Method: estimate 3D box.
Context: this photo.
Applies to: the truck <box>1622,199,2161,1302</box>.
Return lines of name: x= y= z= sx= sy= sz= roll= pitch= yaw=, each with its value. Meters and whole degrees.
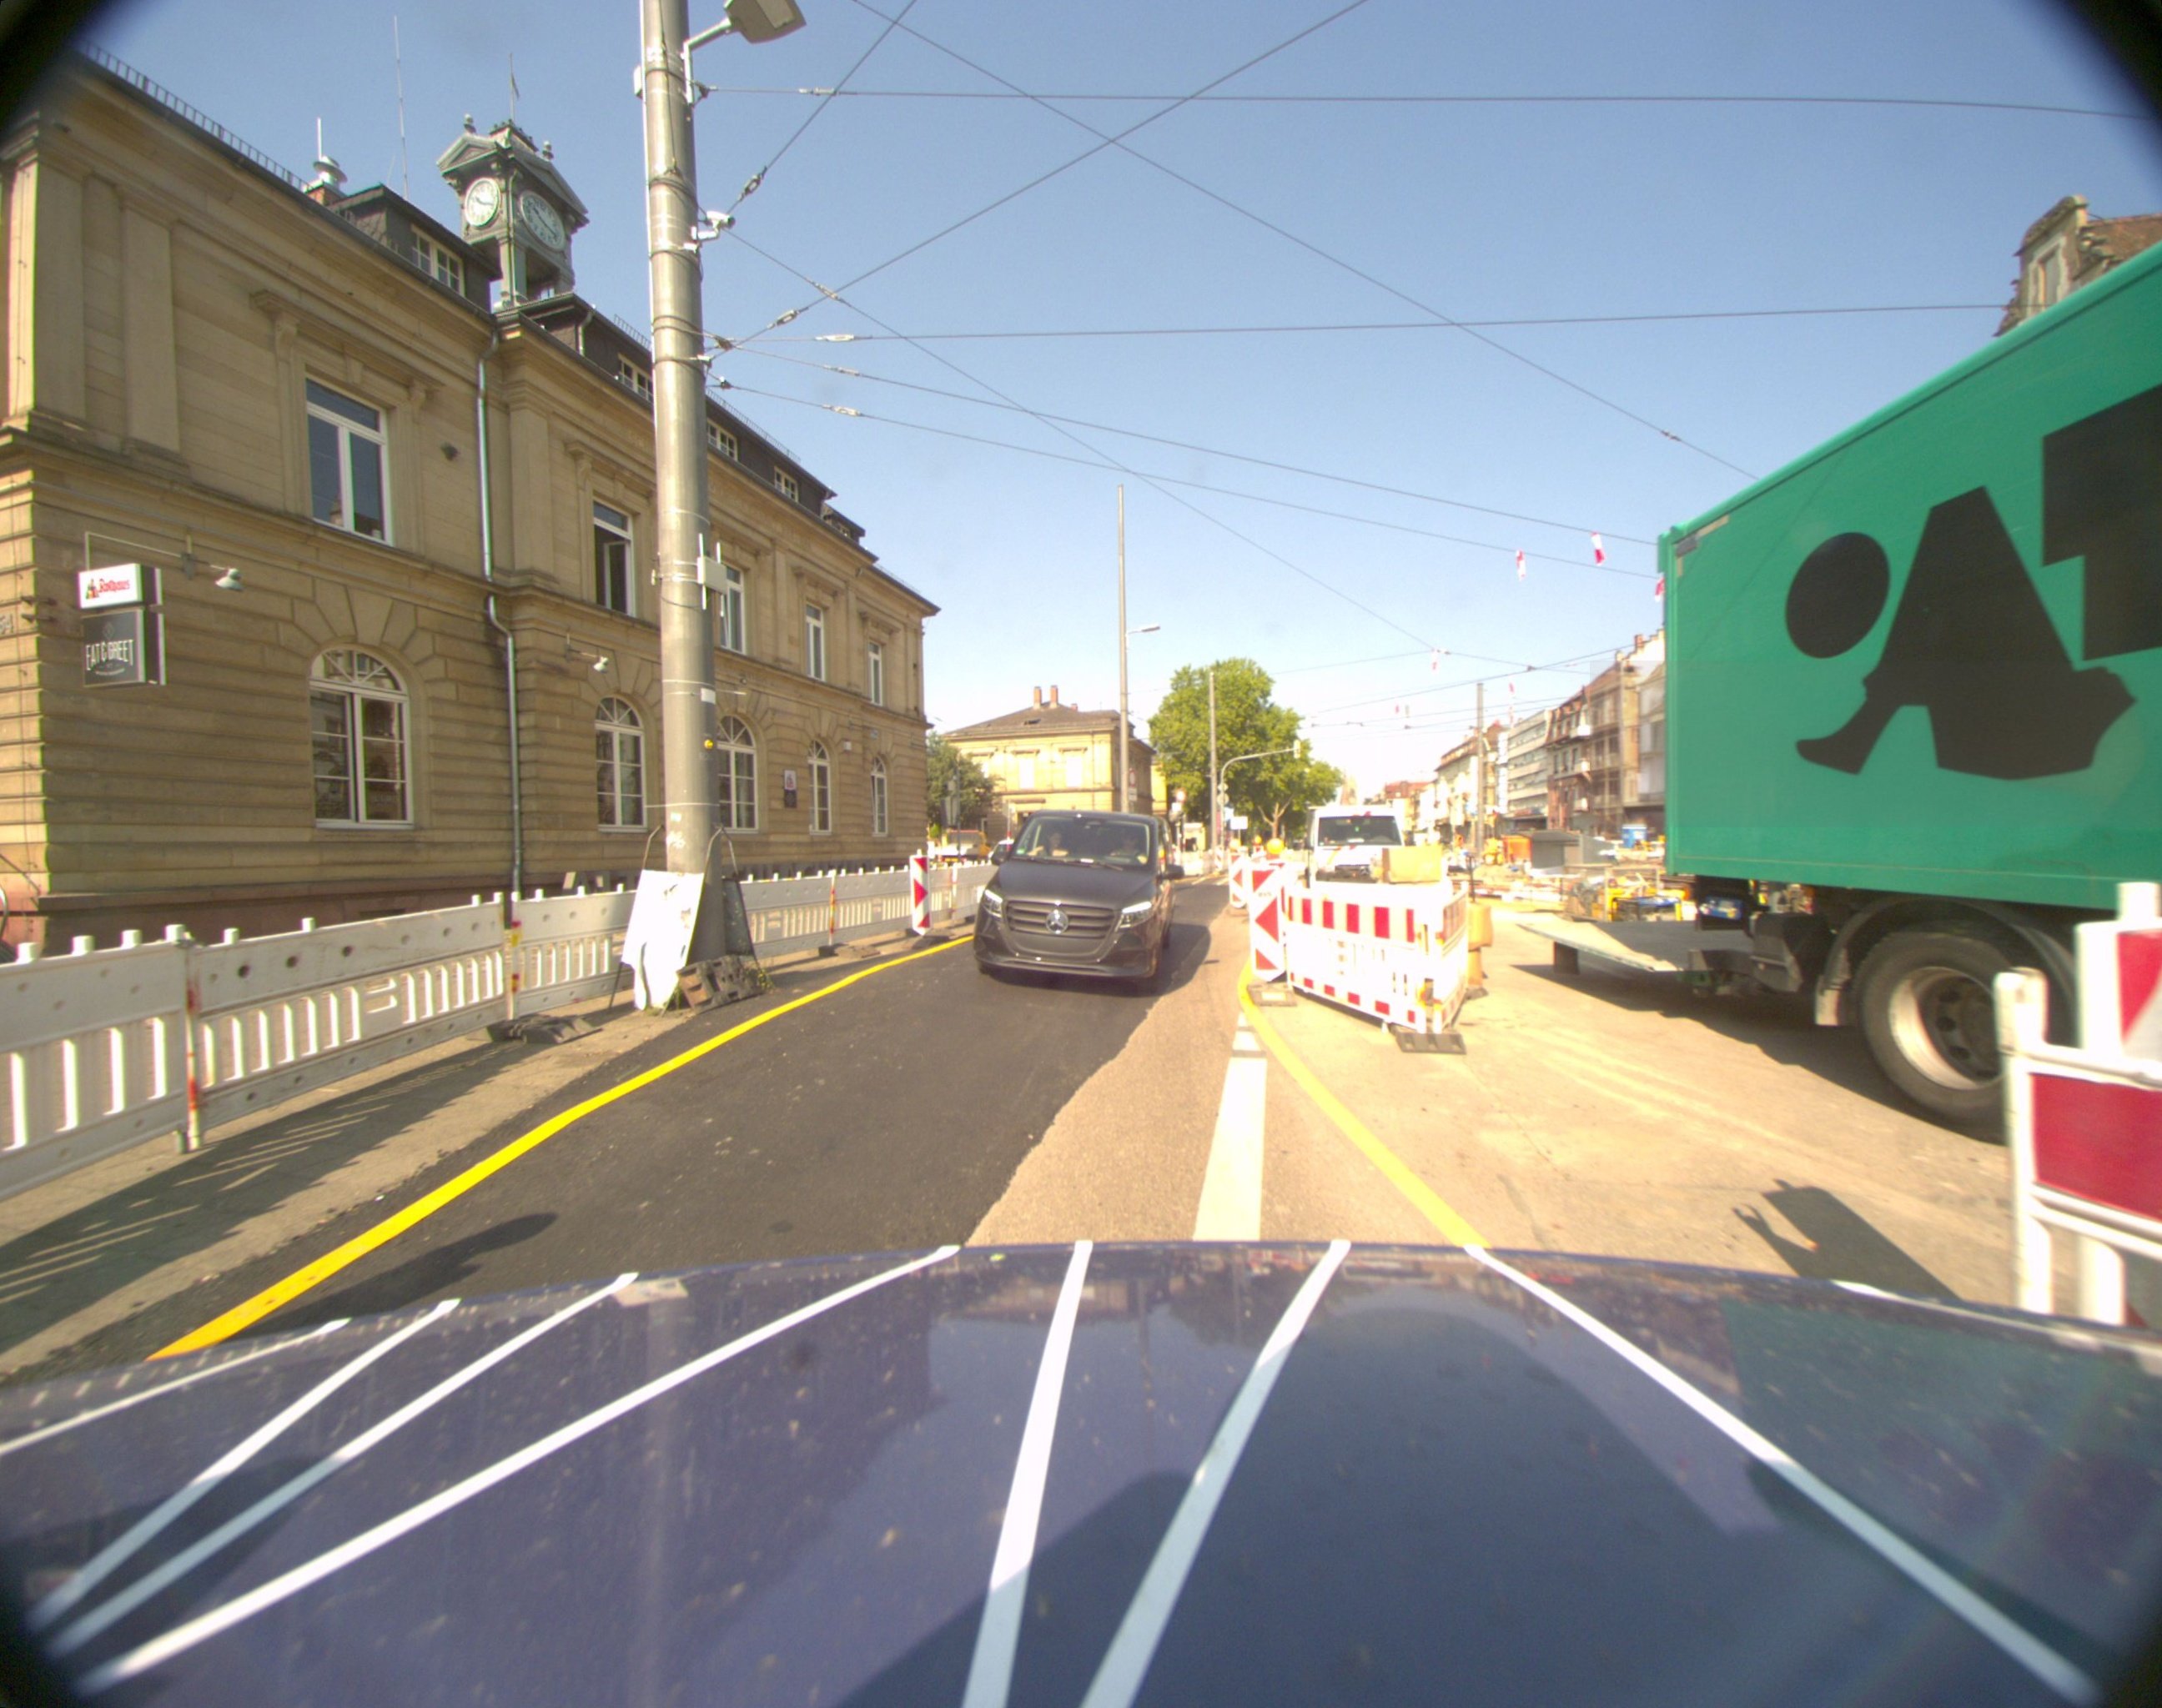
truck: x=5.127 y=-0.370 z=1.287 sx=2.798 sy=3.890 sz=8.420 roll=-2 pitch=0 yaw=4

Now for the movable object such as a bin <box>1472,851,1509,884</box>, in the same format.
movable object such as a bin: x=16.057 y=0.503 z=29.852 sx=0.888 sy=1.204 sz=2.215 roll=0 pitch=1 yaw=18

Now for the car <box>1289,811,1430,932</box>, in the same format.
car: x=6.576 y=0.266 z=18.898 sx=2.211 sy=2.410 sz=7.204 roll=0 pitch=1 yaw=11

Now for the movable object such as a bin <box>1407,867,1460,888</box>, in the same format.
movable object such as a bin: x=13.444 y=0.885 z=29.017 sx=0.719 sy=0.709 sz=1.718 roll=-2 pitch=2 yaw=-41

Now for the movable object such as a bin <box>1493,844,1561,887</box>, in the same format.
movable object such as a bin: x=17.442 y=0.416 z=29.851 sx=1.602 sy=1.550 sz=3.290 roll=0 pitch=1 yaw=18

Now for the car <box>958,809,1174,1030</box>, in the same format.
car: x=0.034 y=0.508 z=8.855 sx=1.852 sy=1.876 sz=4.179 roll=3 pitch=2 yaw=5

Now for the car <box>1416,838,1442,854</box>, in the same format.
car: x=49.053 y=-1.198 z=107.232 sx=2.363 sy=2.123 sz=7.129 roll=0 pitch=2 yaw=16

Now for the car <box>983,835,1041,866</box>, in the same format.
car: x=-4.234 y=-0.202 z=47.167 sx=1.905 sy=1.772 sz=4.232 roll=1 pitch=-1 yaw=20

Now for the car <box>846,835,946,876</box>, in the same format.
car: x=-8.135 y=0.039 z=33.683 sx=4.010 sy=1.528 sz=1.664 roll=3 pitch=3 yaw=-3

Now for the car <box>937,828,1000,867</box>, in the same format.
car: x=-7.274 y=-0.472 z=49.754 sx=2.261 sy=2.409 sz=5.493 roll=0 pitch=1 yaw=12
